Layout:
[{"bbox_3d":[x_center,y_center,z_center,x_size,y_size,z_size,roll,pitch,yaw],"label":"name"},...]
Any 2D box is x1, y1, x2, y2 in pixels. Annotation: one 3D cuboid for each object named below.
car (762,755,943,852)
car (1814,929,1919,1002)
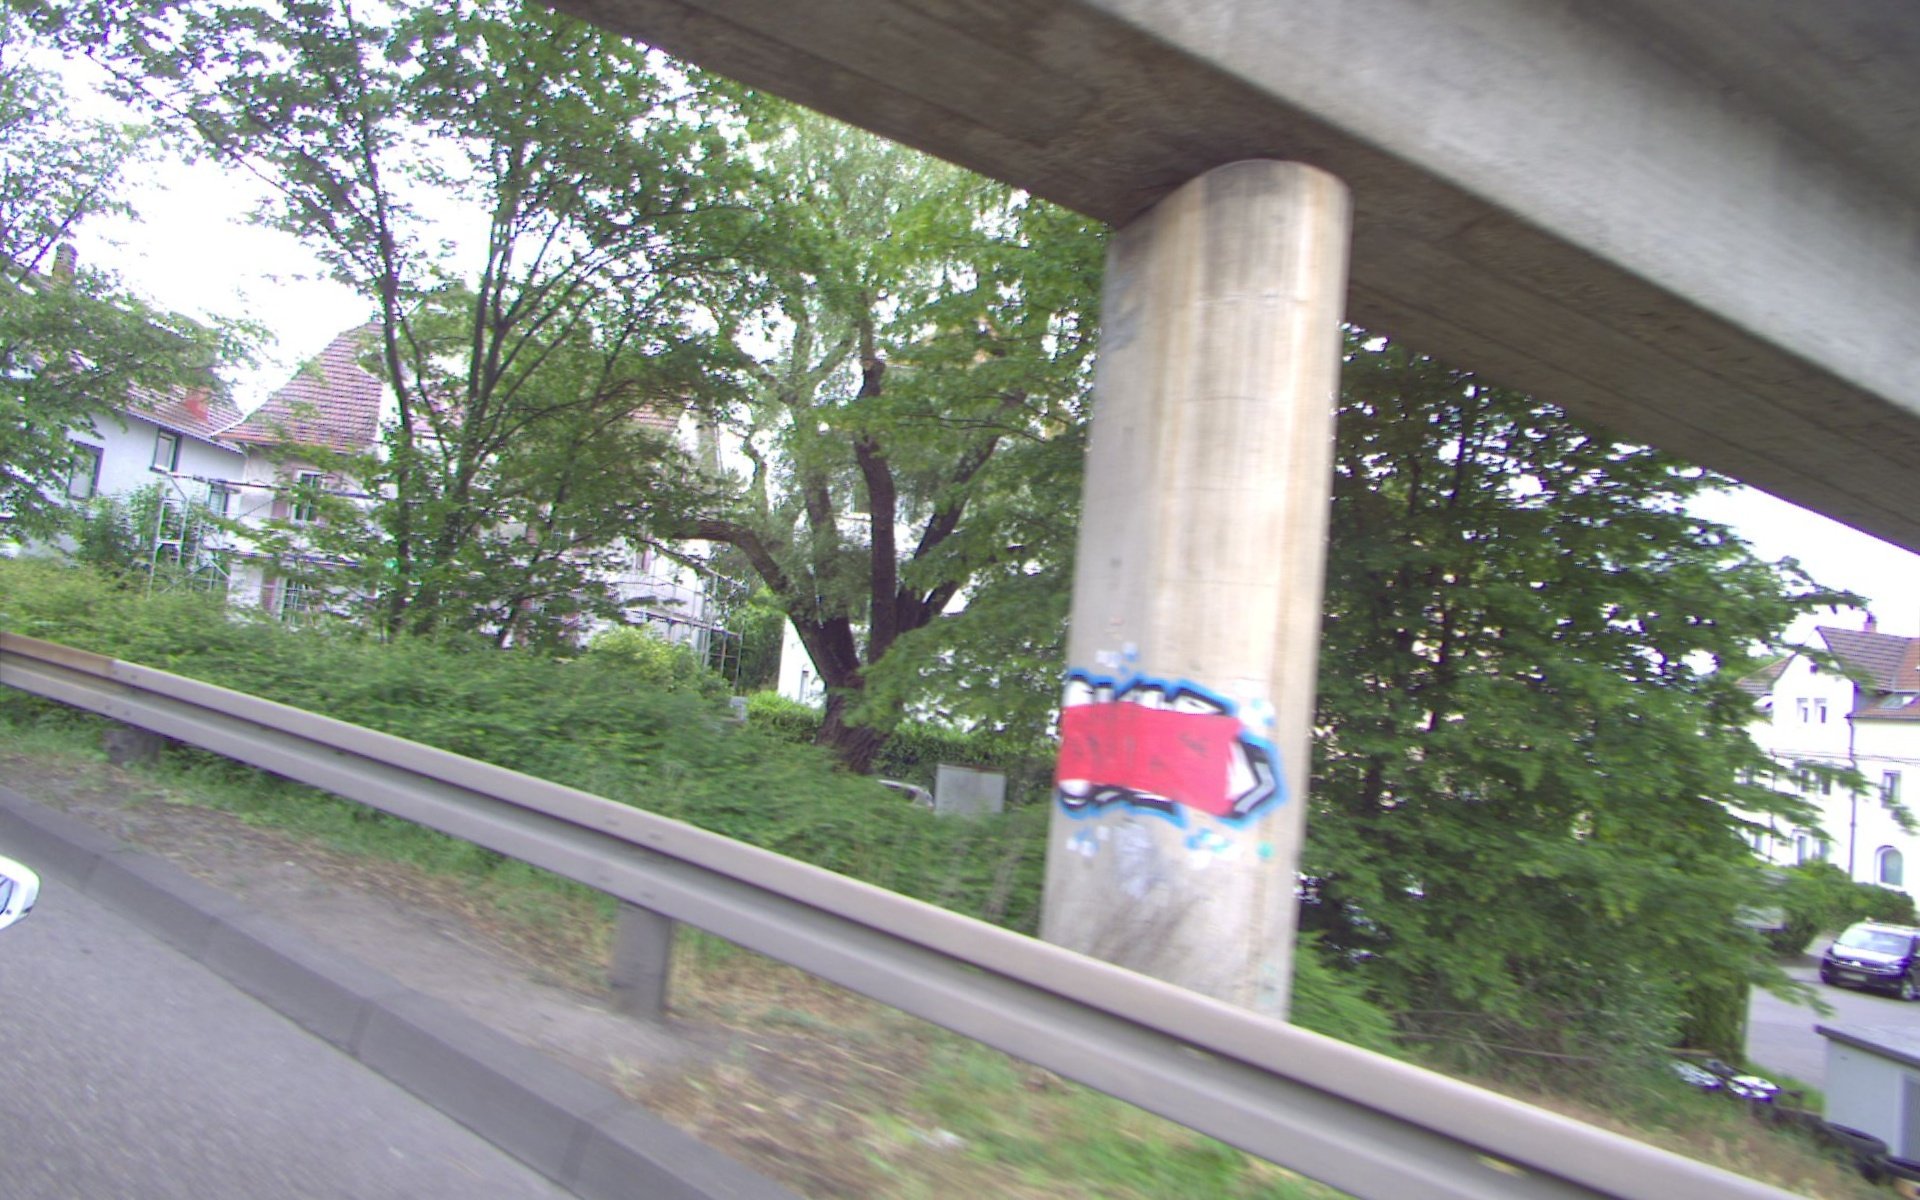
[{"bbox_3d":[-2.478,4.775,23.784,3.958,1.462,1.627,10,-5,-2],"label":"car"},{"bbox_3d":[25.074,9.895,27.055,3.539,1.361,1.599,12,-7,-18],"label":"car"}]
